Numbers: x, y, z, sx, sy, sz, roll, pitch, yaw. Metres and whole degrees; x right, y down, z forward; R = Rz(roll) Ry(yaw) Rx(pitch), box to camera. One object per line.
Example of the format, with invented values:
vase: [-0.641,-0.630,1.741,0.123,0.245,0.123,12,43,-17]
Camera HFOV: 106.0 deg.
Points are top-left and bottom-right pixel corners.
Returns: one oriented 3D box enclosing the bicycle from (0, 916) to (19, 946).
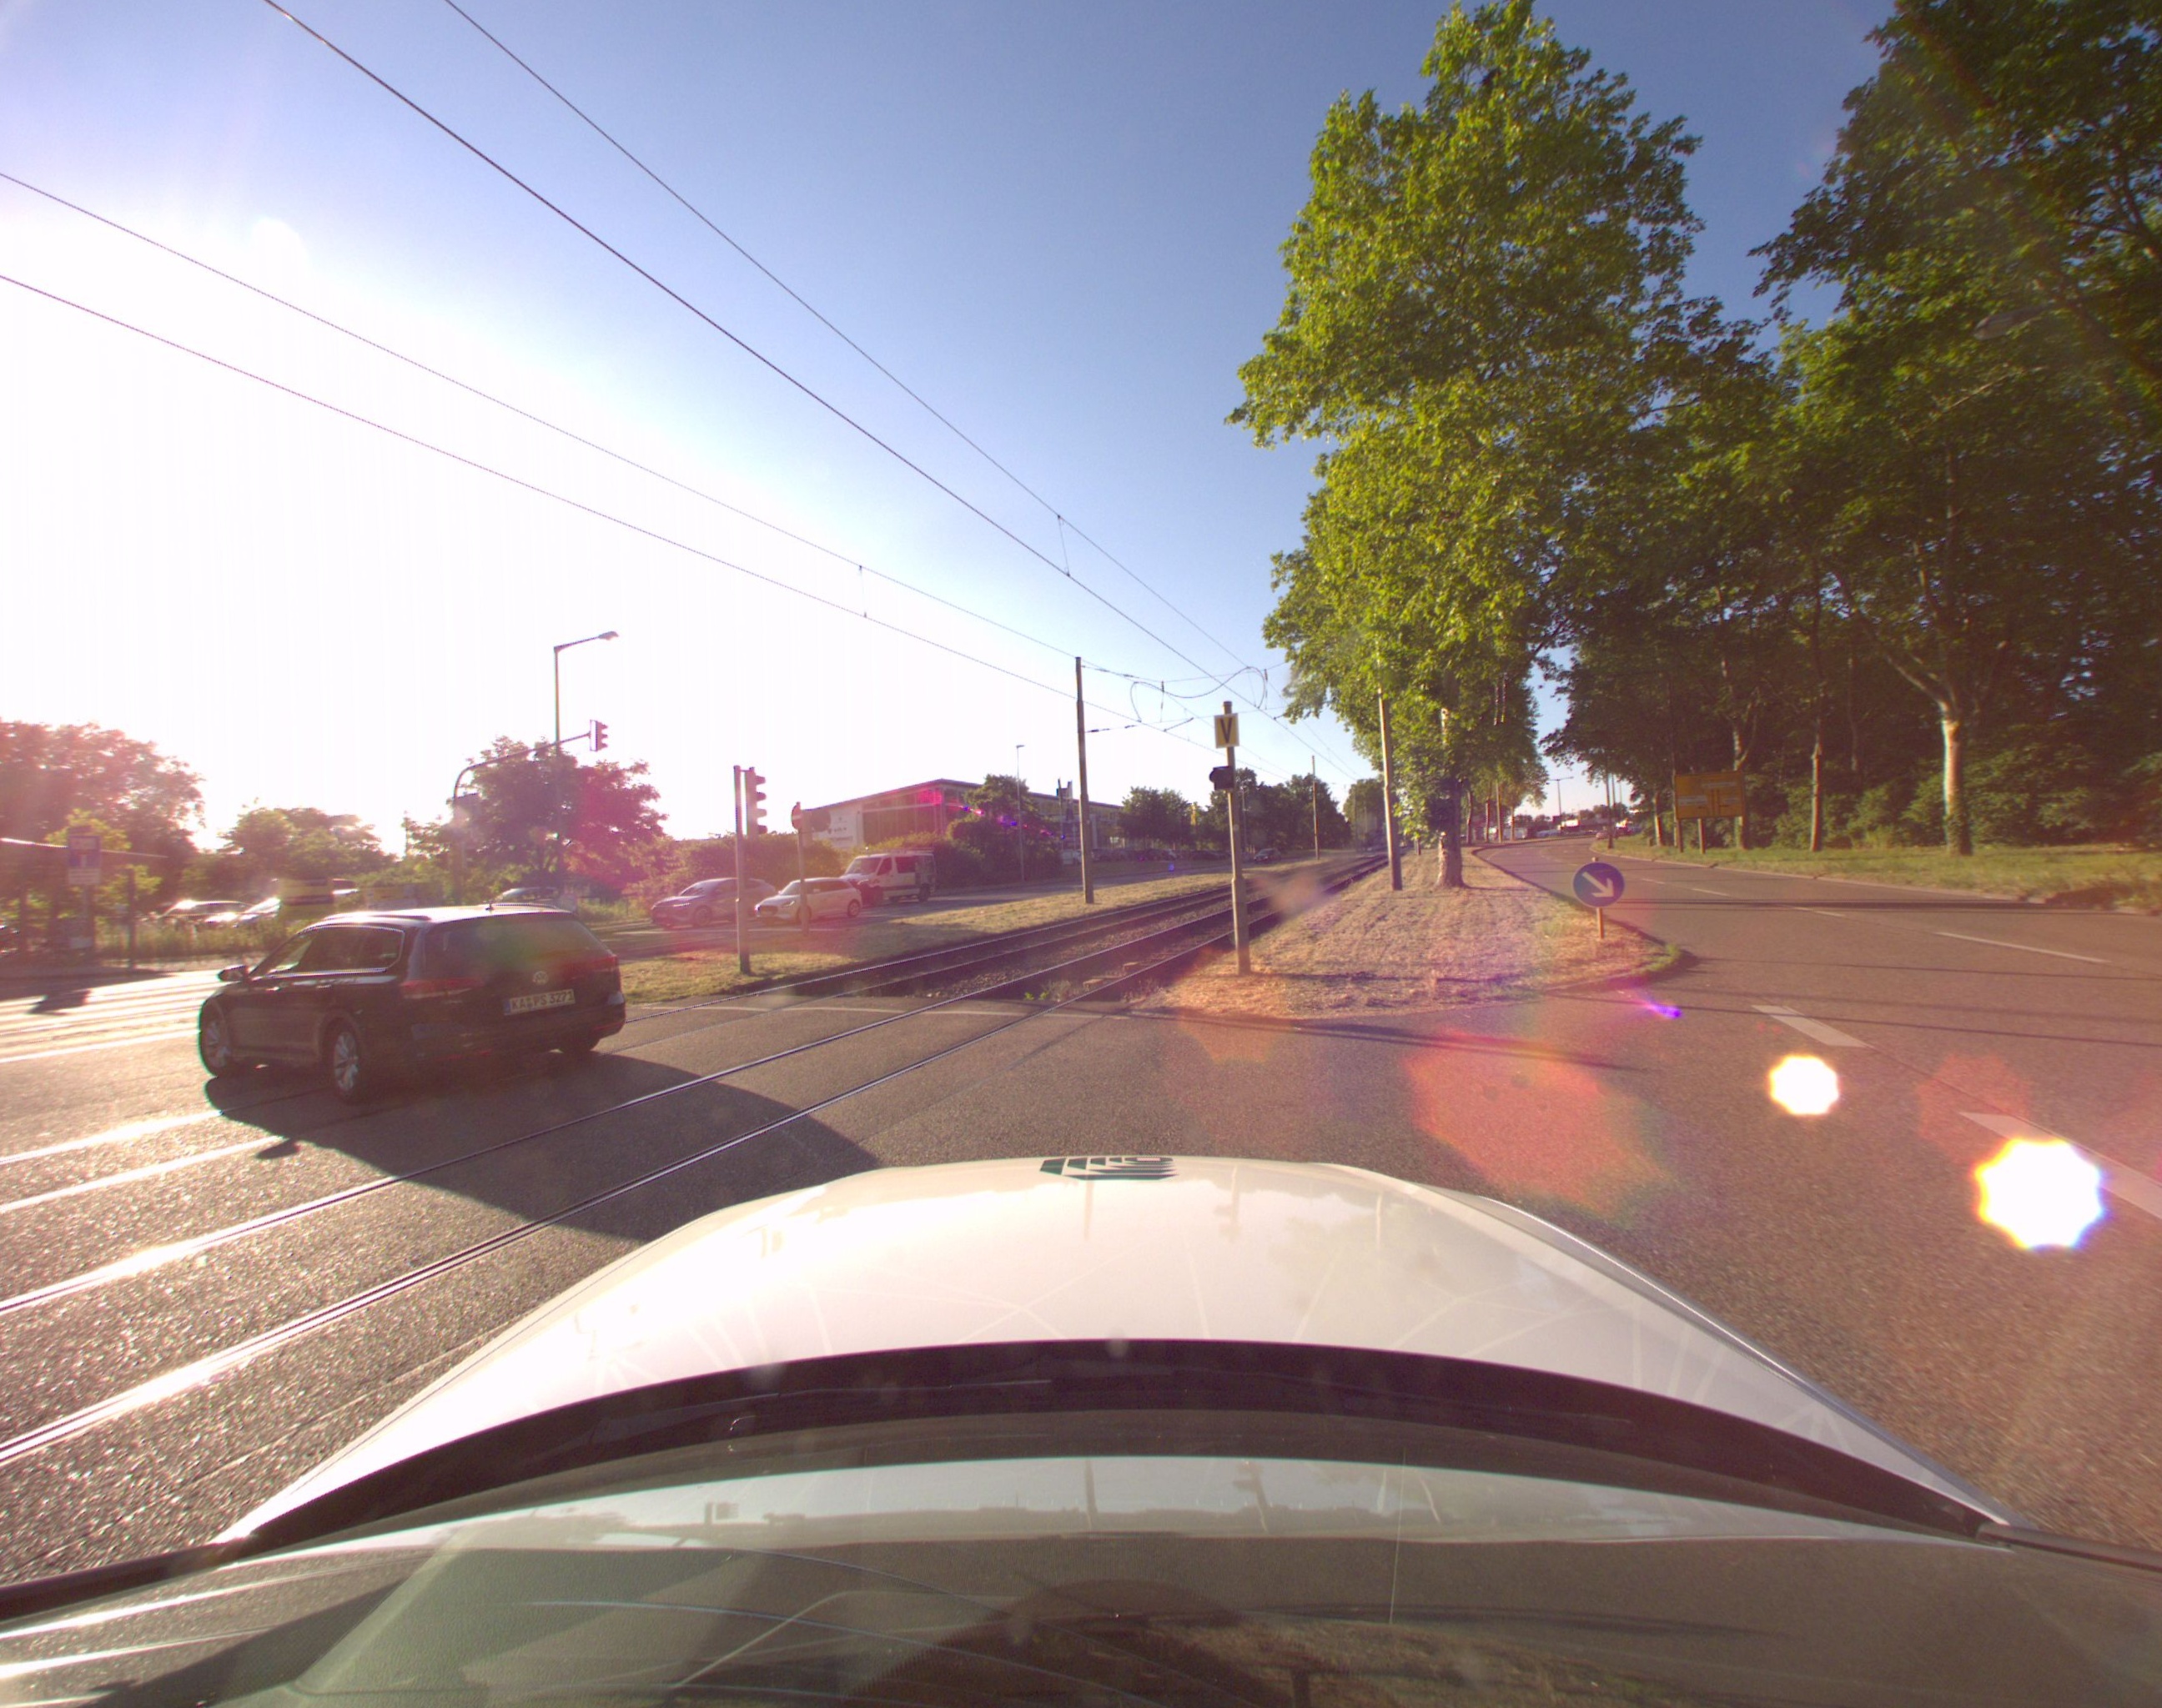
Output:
bicycle: [-39.376,2.805,28.930,0.537,1.038,1.905,-3,0,29]

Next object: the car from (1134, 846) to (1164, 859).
car: [8.855,-0.179,105.614,3.769,1.567,1.762,-2,-1,5]

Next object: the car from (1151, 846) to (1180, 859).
car: [11.548,-0.230,111.196,3.769,1.567,1.762,-2,-1,5]

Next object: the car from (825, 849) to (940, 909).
car: [-9.261,1.090,38.652,1.985,2.566,5.910,-2,0,25]

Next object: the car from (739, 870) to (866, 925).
car: [-9.532,1.466,28.206,1.853,1.618,4.023,-2,0,24]

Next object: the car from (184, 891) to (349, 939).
car: [-33.721,2.504,33.878,2.095,1.648,4.344,-2,-1,23]

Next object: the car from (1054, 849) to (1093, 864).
car: [-0.747,0.265,82.597,3.769,1.388,1.762,-2,-1,5]

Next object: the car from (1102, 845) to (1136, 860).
car: [4.404,-0.142,94.439,3.769,1.567,1.762,-2,-1,5]

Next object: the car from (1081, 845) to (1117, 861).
car: [1.981,-0.070,88.722,3.769,1.567,1.762,-2,-1,5]

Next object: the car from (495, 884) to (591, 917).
car: [-30.797,2.618,46.699,2.093,1.637,4.026,-2,-1,33]

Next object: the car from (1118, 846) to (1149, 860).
car: [6.460,-0.140,99.861,3.769,1.567,1.762,-2,-1,5]

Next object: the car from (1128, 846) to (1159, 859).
car: [7.908,-0.167,102.949,3.769,1.567,1.762,-2,-1,5]

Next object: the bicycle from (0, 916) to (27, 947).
bicycle: [-38.155,2.759,28.219,0.537,1.038,1.905,-3,0,29]

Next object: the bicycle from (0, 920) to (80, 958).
bicycle: [-34.021,2.756,26.397,0.537,1.038,1.905,-3,0,25]

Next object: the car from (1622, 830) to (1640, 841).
car: [78.624,-2.623,116.384,1.974,1.439,4.026,-3,0,32]

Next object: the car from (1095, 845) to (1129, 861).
car: [3.496,-0.102,91.469,3.769,1.567,1.762,-2,-1,5]

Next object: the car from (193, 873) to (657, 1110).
car: [-6.029,1.030,7.398,4.204,1.555,1.842,-2,-1,30]

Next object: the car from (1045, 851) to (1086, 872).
car: [-1.507,0.727,79.524,3.769,1.860,1.762,-2,-1,5]

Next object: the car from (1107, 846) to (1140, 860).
car: [5.048,-0.111,97.202,3.769,1.567,1.762,-2,-1,5]

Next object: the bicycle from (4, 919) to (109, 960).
bicycle: [-31.422,2.598,25.012,0.537,1.038,1.905,-3,0,25]

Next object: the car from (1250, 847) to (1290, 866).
car: [19.013,0.276,81.794,4.021,1.684,1.793,-2,0,-40]

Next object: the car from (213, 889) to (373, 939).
car: [-31.038,2.344,32.237,2.095,1.648,4.022,-2,-1,23]

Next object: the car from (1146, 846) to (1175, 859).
car: [10.622,-0.218,108.538,3.769,1.567,1.762,-2,-1,5]

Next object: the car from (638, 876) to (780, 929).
car: [-13.328,1.702,29.519,1.853,1.618,4.573,-2,0,23]

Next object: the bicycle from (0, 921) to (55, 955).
bicycle: [-36.042,2.843,27.332,0.537,1.038,1.905,-3,0,25]

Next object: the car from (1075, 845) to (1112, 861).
car: [1.343,-0.068,86.265,3.769,1.567,1.762,-2,-1,5]

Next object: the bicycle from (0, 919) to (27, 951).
bicycle: [-37.082,2.791,27.377,0.537,1.038,1.905,-3,0,25]

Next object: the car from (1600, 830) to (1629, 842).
car: [71.155,-2.348,108.533,4.019,1.442,1.977,-2,-1,-38]
